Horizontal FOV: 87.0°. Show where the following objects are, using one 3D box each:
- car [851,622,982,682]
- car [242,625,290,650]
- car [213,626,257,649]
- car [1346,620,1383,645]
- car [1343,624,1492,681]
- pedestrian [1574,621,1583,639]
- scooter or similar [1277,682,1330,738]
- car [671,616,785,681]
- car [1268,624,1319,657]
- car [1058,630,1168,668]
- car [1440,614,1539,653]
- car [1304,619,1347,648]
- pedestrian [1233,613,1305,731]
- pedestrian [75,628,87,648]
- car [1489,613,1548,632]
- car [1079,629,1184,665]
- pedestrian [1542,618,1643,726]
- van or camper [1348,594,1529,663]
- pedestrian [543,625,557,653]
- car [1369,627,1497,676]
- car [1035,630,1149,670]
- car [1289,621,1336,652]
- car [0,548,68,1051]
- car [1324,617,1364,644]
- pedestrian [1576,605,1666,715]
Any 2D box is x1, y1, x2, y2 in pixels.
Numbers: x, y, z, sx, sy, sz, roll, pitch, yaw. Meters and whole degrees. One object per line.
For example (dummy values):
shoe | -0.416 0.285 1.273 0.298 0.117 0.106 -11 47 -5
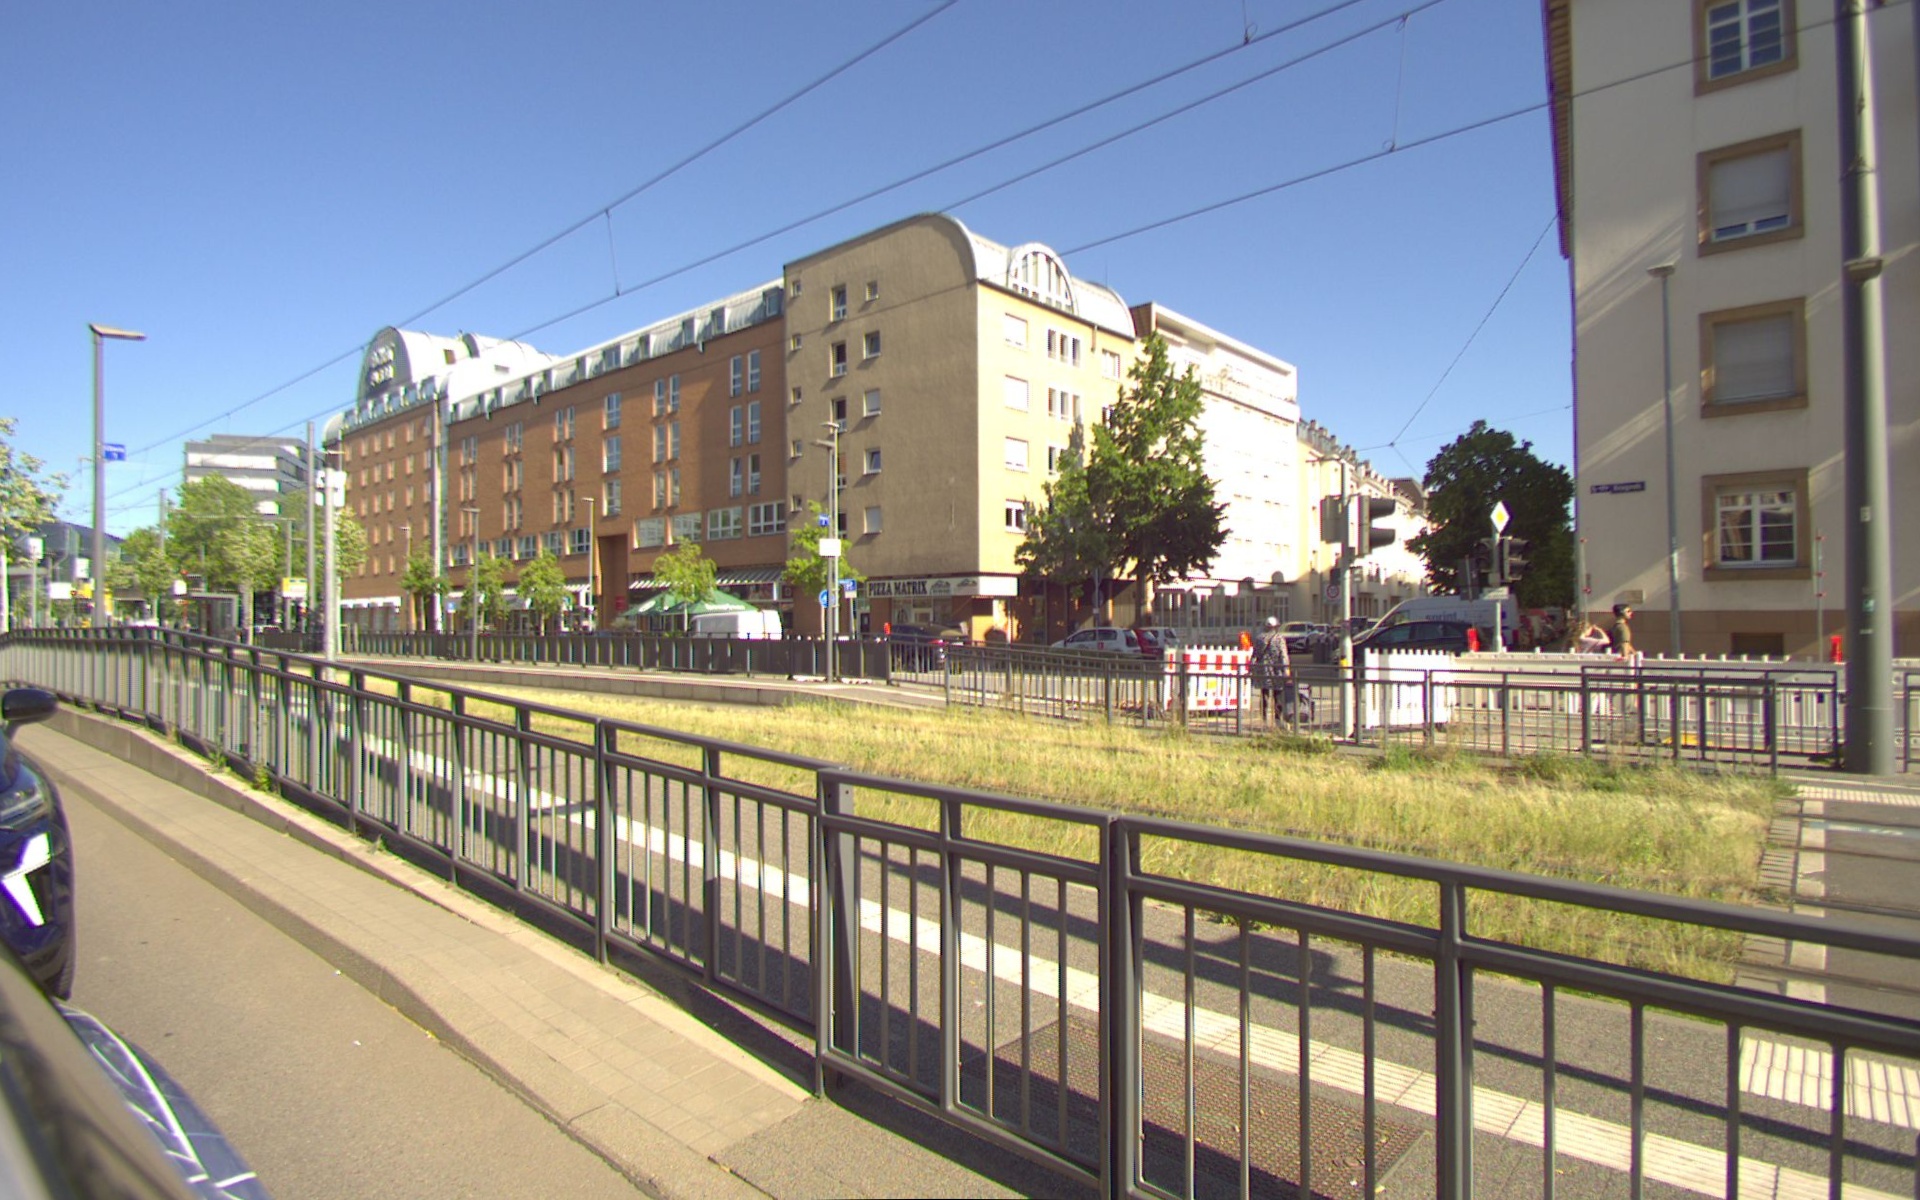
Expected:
car | -1.426 1.588 31.993 3.997 1.773 1.796 -2 -2 40
car | -50.937 2.720 74.284 3.998 1.696 1.973 -1 0 41
car | -57.987 2.938 80.898 3.998 1.696 1.973 -1 0 41
car | 28.127 2.268 70.336 1.947 1.674 3.962 -1 -2 28
car | 12.983 1.453 28.749 3.662 1.533 1.673 -1 -2 32
pedestrian | 61.478 3.000 100.624 0.687 1.768 0.807 -2 -2 34
scooter or similar | 4.425 1.415 13.080 0.510 0.656 0.707 -1 -1 8
car | -9.318 1.858 40.219 1.969 2.388 5.653 0 -2 -41
car | 17.731 2.115 53.695 1.947 1.674 3.962 -1 -2 28
car | 6.095 1.939 40.429 3.980 1.462 1.768 -1 -2 28
car | 25.217 1.577 48.209 3.990 1.789 1.722 -1 -2 35
car | 22.197 2.010 61.428 1.947 1.674 3.962 -1 -2 28
pedestrian | 4.222 0.968 13.898 0.788 1.548 0.813 -1 -1 8
pedestrian | -71.757 3.121 82.634 0.599 1.581 0.730 0 -2 -29
car | 43.889 1.778 79.620 3.853 1.472 1.740 -1 -2 24
car | 7.205 1.961 42.572 3.980 1.462 1.768 -1 -2 28
pedestrian | 9.435 1.048 15.135 0.853 1.548 0.911 -1 -1 -11
van or camper | 17.702 1.060 37.570 5.933 2.419 1.979 -1 -2 30
pedestrian | -28.185 2.678 69.582 0.644 1.854 0.614 -2 -2 39
car | 15.648 1.683 33.517 3.654 1.533 1.673 -1 -2 32
car | 5.021 1.887 38.568 3.980 1.462 1.768 -1 -2 28
car | 20.109 2.060 57.585 1.947 1.674 3.962 -1 -2 28
car | -5.066 0.669 4.023 3.998 1.618 1.779 -1 0 41
car | 24.990 1.966 65.824 1.947 1.674 3.962 -1 -2 28
pedestrian | 11.188 0.988 17.151 0.853 1.794 0.912 -1 -1 -20
